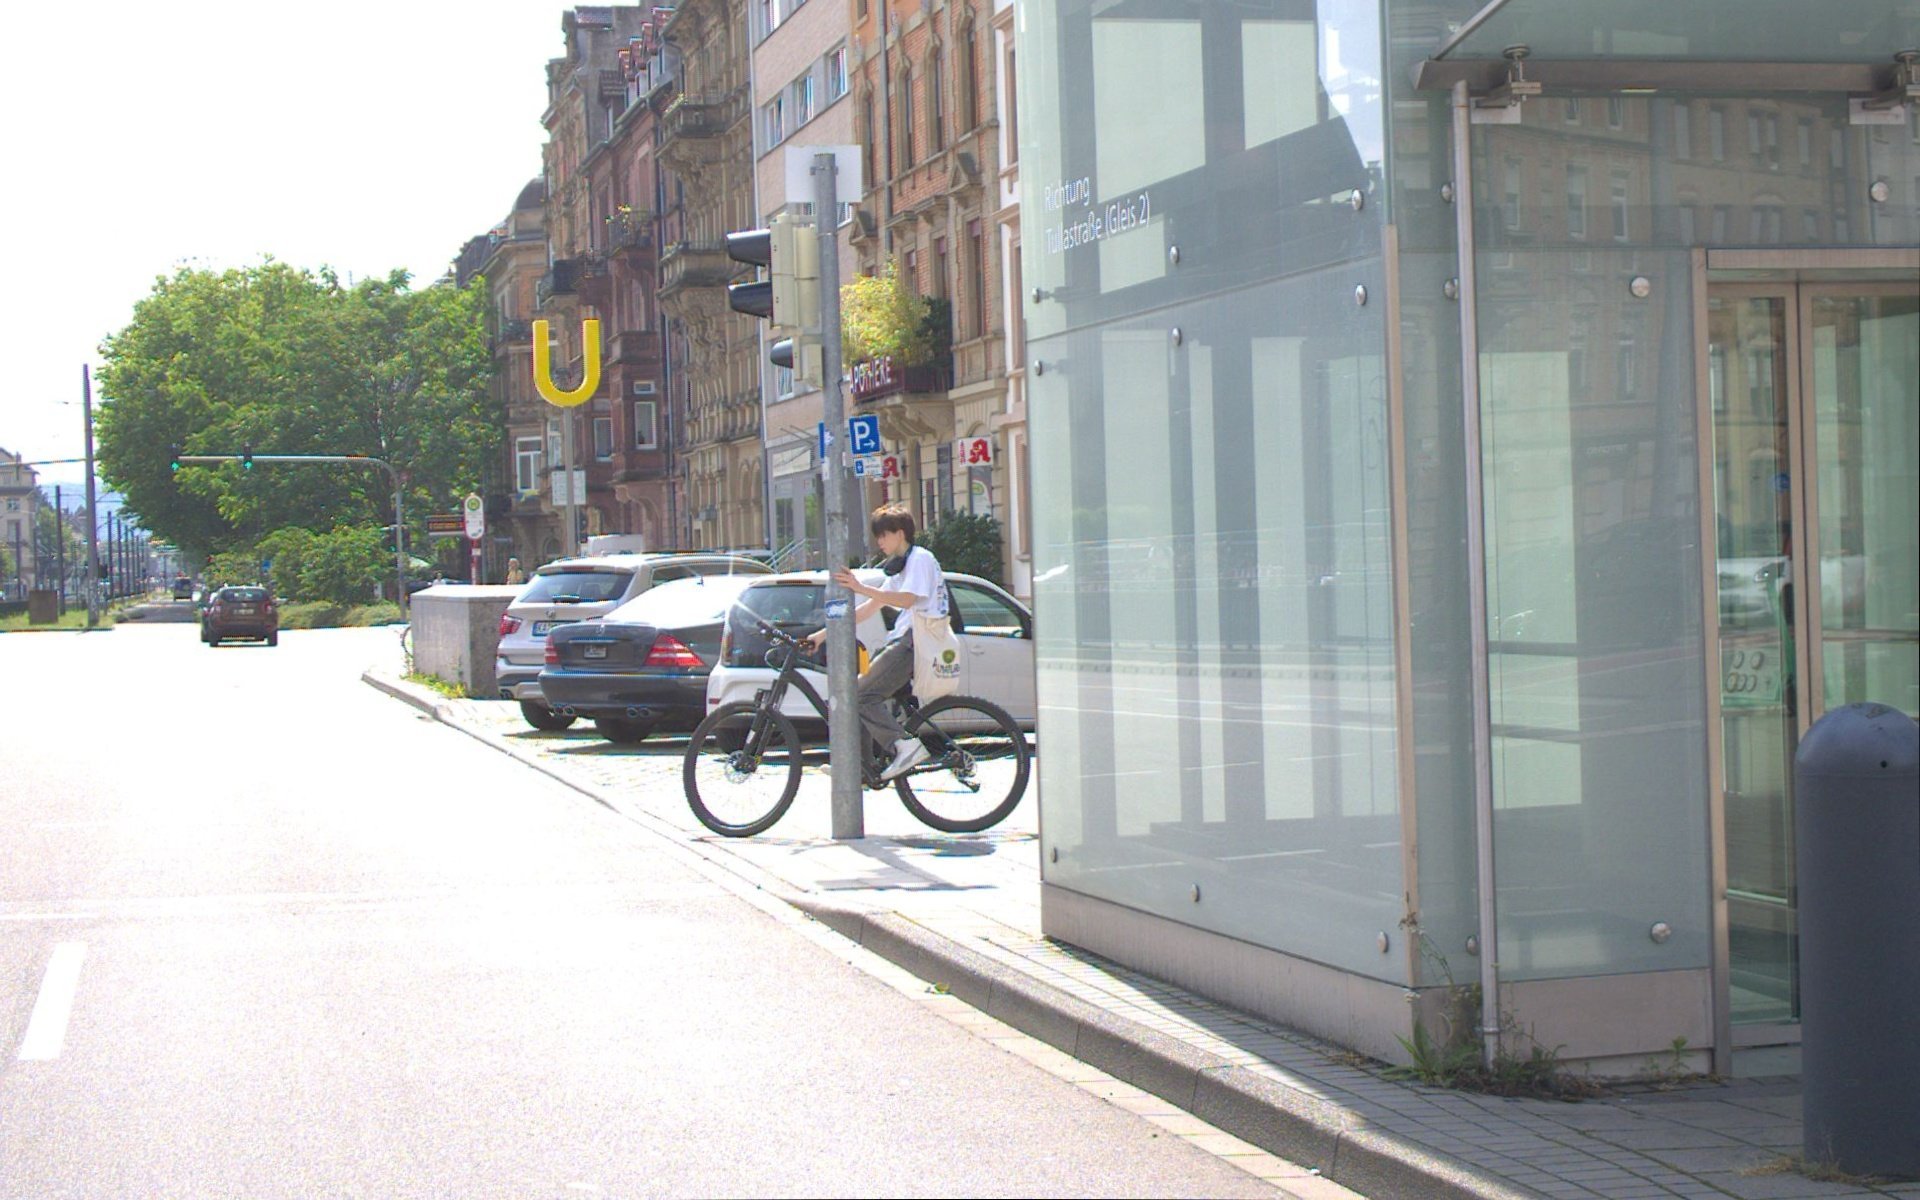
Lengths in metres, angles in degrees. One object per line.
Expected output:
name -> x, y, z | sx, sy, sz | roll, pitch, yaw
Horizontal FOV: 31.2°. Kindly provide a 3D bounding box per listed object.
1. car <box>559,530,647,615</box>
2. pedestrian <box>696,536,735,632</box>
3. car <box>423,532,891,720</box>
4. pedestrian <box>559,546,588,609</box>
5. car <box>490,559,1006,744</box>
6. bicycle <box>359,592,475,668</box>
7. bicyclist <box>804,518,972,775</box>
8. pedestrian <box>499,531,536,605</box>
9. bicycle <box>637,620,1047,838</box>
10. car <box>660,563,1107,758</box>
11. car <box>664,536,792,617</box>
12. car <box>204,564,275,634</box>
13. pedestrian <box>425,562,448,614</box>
car -> -11.080, -0.843, 106.365 | 1.993, 2.517, 5.890 | -2, 1, -12
pedestrian -> -5.489, -0.362, 77.032 | 0.721, 2.092, 0.786 | -2, 3, -12
car -> -2.889, 0.219, 33.784 | 2.059, 1.641, 4.587 | -1, 1, 35
pedestrian -> -11.427, -0.675, 101.647 | 0.662, 1.830, 0.695 | -2, 0, -18
car -> -1.769, 0.403, 30.180 | 1.937, 1.455, 4.590 | -1, 1, 38
bicycle -> -9.521, 0.526, 60.280 | 1.924, 1.233, 0.441 | -2, 3, -25
bicyclist -> -0.378, 0.243, 18.248 | 0.782, 1.331, 0.395 | 0, 3, 16
pedestrian -> -11.452, -0.829, 89.035 | 0.663, 1.896, 0.694 | -3, 0, -31
bicycle -> -0.627, 0.680, 18.341 | 2.095, 1.102, 0.544 | -1, 3, 15
car -> -0.557, 0.450, 27.548 | 1.777, 1.448, 3.489 | -1, 0, 37
car -> -5.726, -0.549, 84.438 | 1.993, 1.856, 4.754 | -2, 0, -18
car -> -19.495, -0.044, 92.912 | 1.688, 1.705, 3.610 | -2, 3, -14
pedestrian -> -20.492, -0.464, 134.589 | 0.767, 2.007, 0.715 | -2, 0, -11
